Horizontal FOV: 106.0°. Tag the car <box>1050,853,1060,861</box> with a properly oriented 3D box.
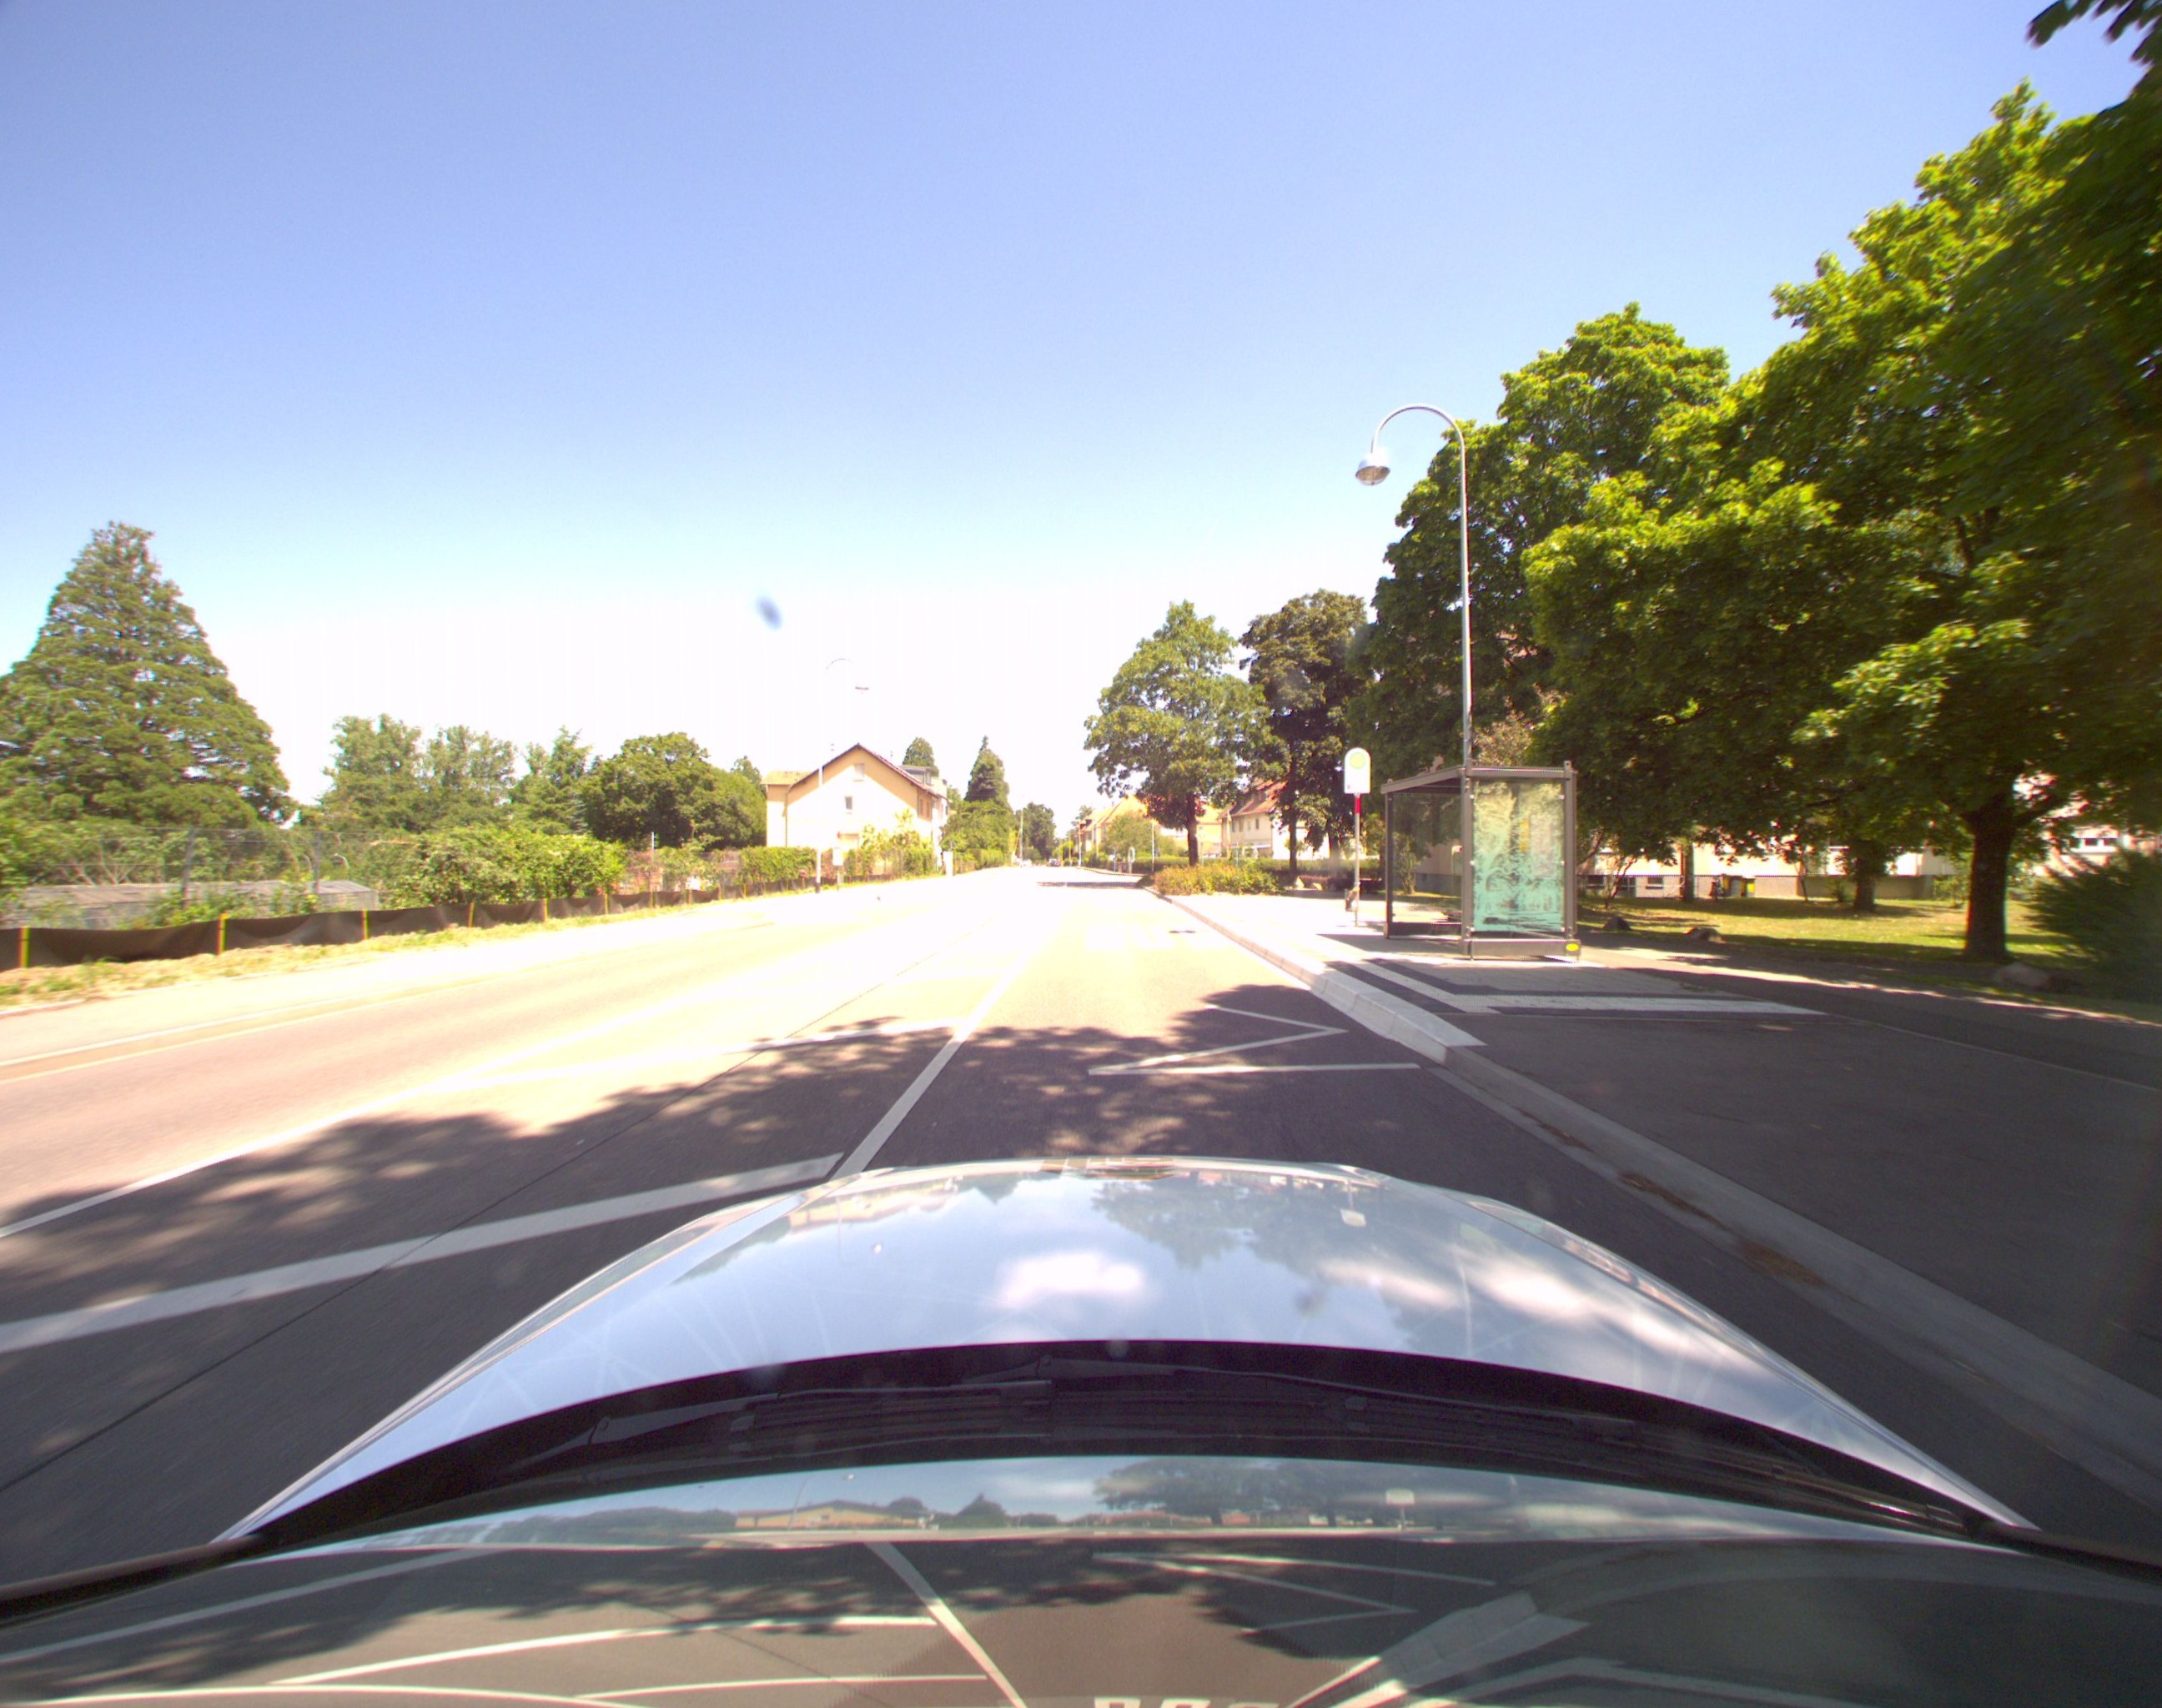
[{"bbox_3d":[-5.204,0.562,163.187,1.690,1.419,4.543,0,-1,-5],"label":"car"}]

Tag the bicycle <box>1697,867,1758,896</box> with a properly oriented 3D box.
[{"bbox_3d":[25.300,1.072,31.935,0.720,1.066,2.186,0,0,2],"label":"bicycle"}]

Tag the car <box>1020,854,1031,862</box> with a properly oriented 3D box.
[{"bbox_3d":[-9.767,0.661,143.001,1.676,1.372,4.202,-2,0,-2],"label":"car"}]
